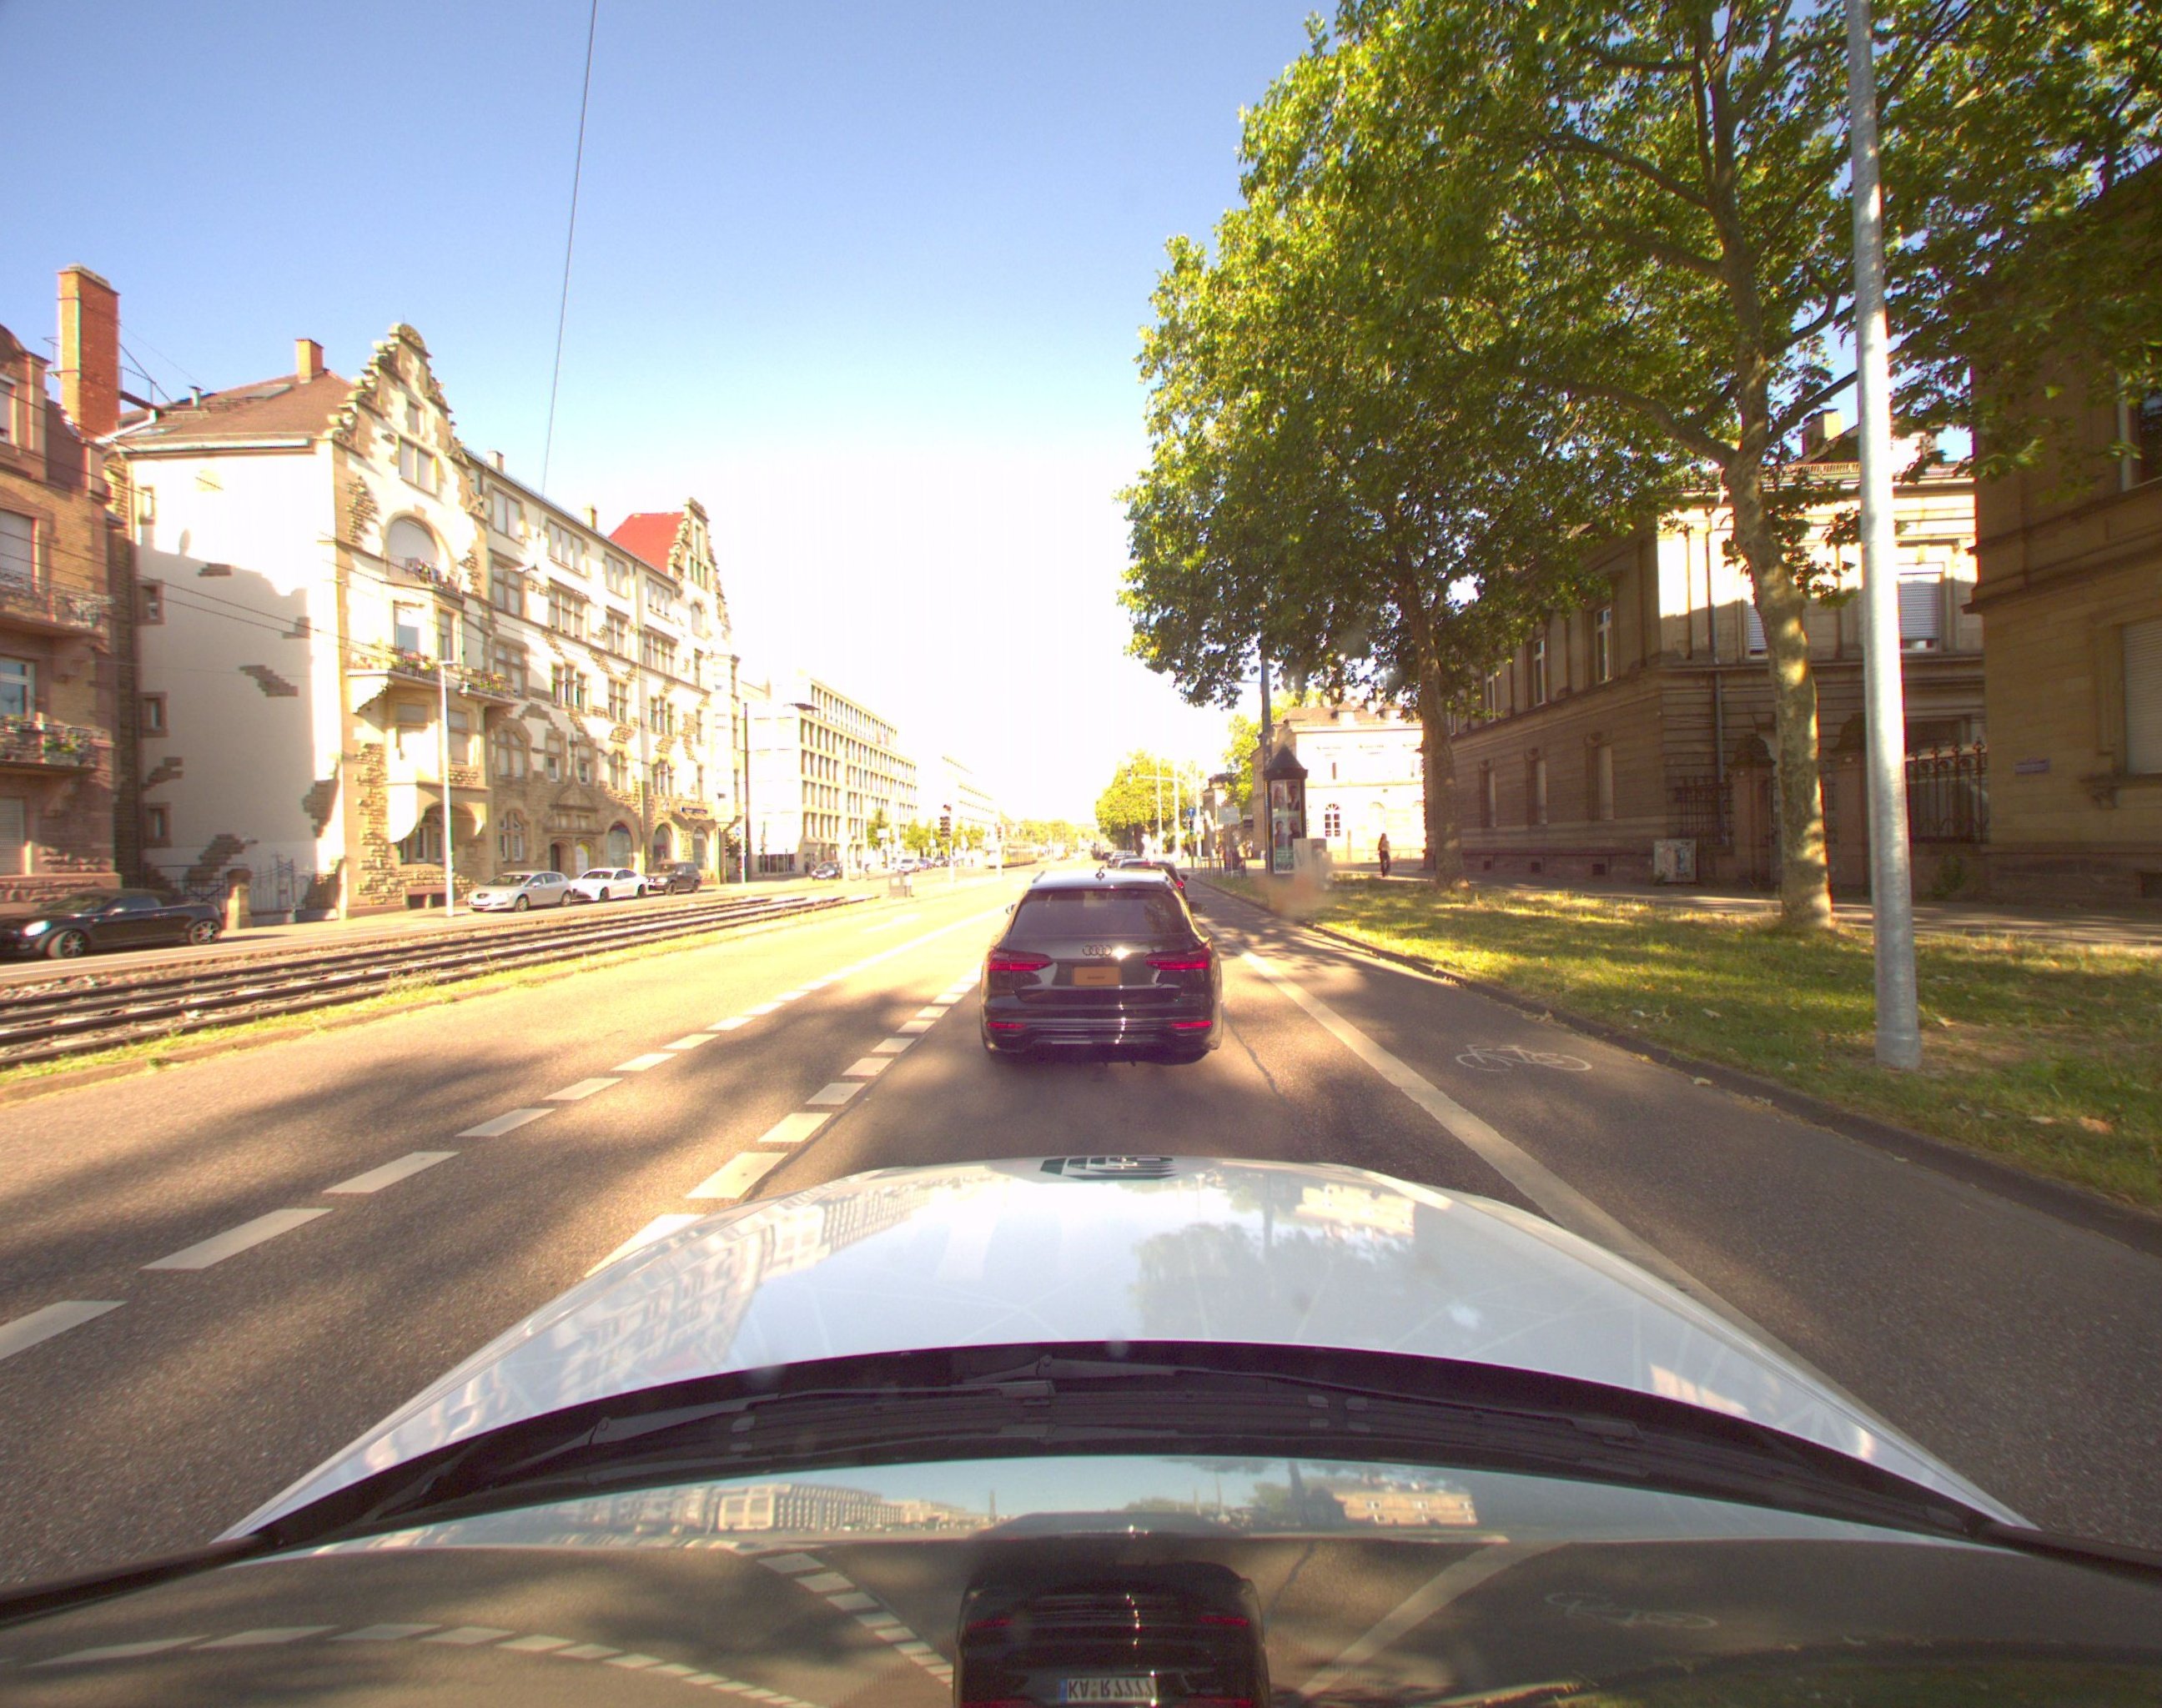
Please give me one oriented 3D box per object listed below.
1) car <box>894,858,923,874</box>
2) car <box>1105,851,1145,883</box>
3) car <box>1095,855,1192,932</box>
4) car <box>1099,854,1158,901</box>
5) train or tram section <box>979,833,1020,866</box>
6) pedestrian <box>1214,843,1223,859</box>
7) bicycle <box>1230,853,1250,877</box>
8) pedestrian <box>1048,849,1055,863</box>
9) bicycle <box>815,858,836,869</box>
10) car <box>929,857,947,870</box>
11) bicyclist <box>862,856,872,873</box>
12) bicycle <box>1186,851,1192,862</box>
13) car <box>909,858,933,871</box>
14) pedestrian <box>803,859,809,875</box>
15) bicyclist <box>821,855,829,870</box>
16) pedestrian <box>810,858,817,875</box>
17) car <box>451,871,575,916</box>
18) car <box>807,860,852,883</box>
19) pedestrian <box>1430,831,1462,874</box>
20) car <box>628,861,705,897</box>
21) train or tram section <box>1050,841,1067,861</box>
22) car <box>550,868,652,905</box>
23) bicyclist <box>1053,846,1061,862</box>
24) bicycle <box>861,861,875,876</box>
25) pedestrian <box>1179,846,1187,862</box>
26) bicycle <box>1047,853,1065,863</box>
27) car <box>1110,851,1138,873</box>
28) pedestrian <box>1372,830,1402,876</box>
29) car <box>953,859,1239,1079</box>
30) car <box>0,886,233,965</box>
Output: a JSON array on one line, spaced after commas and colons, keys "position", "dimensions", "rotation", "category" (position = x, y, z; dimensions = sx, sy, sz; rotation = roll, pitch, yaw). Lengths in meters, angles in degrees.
[{"position": [-17.370, 1.177, 82.234], "dimensions": [1.813, 1.457, 4.542], "rotation": [-2, 0, 1], "category": "car"}, {"position": [2.186, 0.606, 40.654], "dimensions": [1.895, 1.486, 4.147], "rotation": [-1, 0, 3], "category": "car"}, {"position": [1.335, 0.781, 18.153], "dimensions": [1.895, 1.486, 4.147], "rotation": [-1, 0, 3], "category": "car"}, {"position": [1.643, 0.759, 28.619], "dimensions": [1.895, 1.486, 4.147], "rotation": [-1, 0, 3], "category": "car"}, {"position": [-9.310, -0.480, 94.533], "dimensions": [2.802, 3.489, 13.211], "rotation": [-2, 0, 2], "category": "train or tram section"}, {"position": [16.275, -0.390, 96.524], "dimensions": [0.975, 1.865, 0.827], "rotation": [-2, 0, 3], "category": "pedestrian"}, {"position": [7.345, 0.484, 37.706], "dimensions": [0.538, 1.061, 1.770], "rotation": [-2, 0, -1], "category": "bicycle"}, {"position": [-3.605, 0.235, 98.776], "dimensions": [0.740, 1.741, 0.661], "rotation": [-2, 0, -12], "category": "pedestrian"}, {"position": [-30.092, 1.152, 95.923], "dimensions": [0.570, 1.215, 2.404], "rotation": [-2, 0, 41], "category": "bicycle"}, {"position": [-21.799, 1.400, 124.407], "dimensions": [1.835, 1.812, 4.114], "rotation": [-2, 0, 1], "category": "car"}, {"position": [-20.634, 1.008, 78.634], "dimensions": [0.682, 1.563, 0.786], "rotation": [-2, 0, 3], "category": "bicyclist"}, {"position": [11.442, 0.236, 86.425], "dimensions": [0.433, 1.145, 1.340], "rotation": [-2, 0, 1], "category": "bicycle"}, {"position": [-18.649, 1.227, 95.070], "dimensions": [1.813, 1.457, 4.158], "rotation": [-2, 0, 1], "category": "car"}, {"position": [-31.417, 1.507, 92.895], "dimensions": [0.475, 1.843, 0.438], "rotation": [-2, 0, -36], "category": "pedestrian"}, {"position": [-30.143, 1.033, 95.850], "dimensions": [0.570, 1.686, 0.647], "rotation": [-2, 0, 41], "category": "bicyclist"}, {"position": [-30.626, 1.443, 93.211], "dimensions": [0.535, 1.843, 0.438], "rotation": [-2, 0, -36], "category": "pedestrian"}, {"position": [-21.161, 1.416, 30.574], "dimensions": [1.704, 1.431, 4.223], "rotation": [0, 0, 0], "category": "car"}, {"position": [-17.446, 1.201, 56.666], "dimensions": [1.814, 1.457, 4.164], "rotation": [-2, 0, -1], "category": "car"}, {"position": [13.980, -0.058, 31.194], "dimensions": [0.766, 1.606, 0.987], "rotation": [-2, 0, 4], "category": "pedestrian"}, {"position": [-21.052, 1.211, 41.532], "dimensions": [1.711, 1.675, 4.217], "rotation": [0, 0, 1], "category": "car"}, {"position": [-4.047, -0.560, 150.035], "dimensions": [2.600, 3.450, 11.133], "rotation": [-2, 0, 1], "category": "train or tram section"}, {"position": [-21.184, 1.407, 36.198], "dimensions": [1.711, 1.423, 4.656], "rotation": [0, 0, 1], "category": "car"}, {"position": [-2.839, 0.020, 97.332], "dimensions": [0.757, 1.818, 0.761], "rotation": [-2, 0, -14], "category": "bicyclist"}, {"position": [-20.611, 1.388, 78.723], "dimensions": [0.682, 1.381, 1.949], "rotation": [-2, 0, 4], "category": "bicycle"}, {"position": [10.813, 0.044, 86.415], "dimensions": [0.679, 1.660, 0.758], "rotation": [-2, 0, 0], "category": "pedestrian"}, {"position": [-2.954, 0.516, 97.312], "dimensions": [2.008, 1.108, 0.761], "rotation": [-2, 0, -14], "category": "bicycle"}, {"position": [3.096, 0.577, 58.429], "dimensions": [1.895, 1.486, 4.147], "rotation": [-1, 0, 3], "category": "car"}, {"position": [11.824, -0.037, 31.513], "dimensions": [0.766, 1.709, 1.043], "rotation": [-2, 0, 4], "category": "pedestrian"}, {"position": [0.198, 0.791, 7.543], "dimensions": [1.895, 1.421, 4.147], "rotation": [-1, 0, 3], "category": "car"}, {"position": [-21.512, 1.486, 17.974], "dimensions": [1.616, 1.354, 3.727], "rotation": [1, 0, 1], "category": "car"}]
